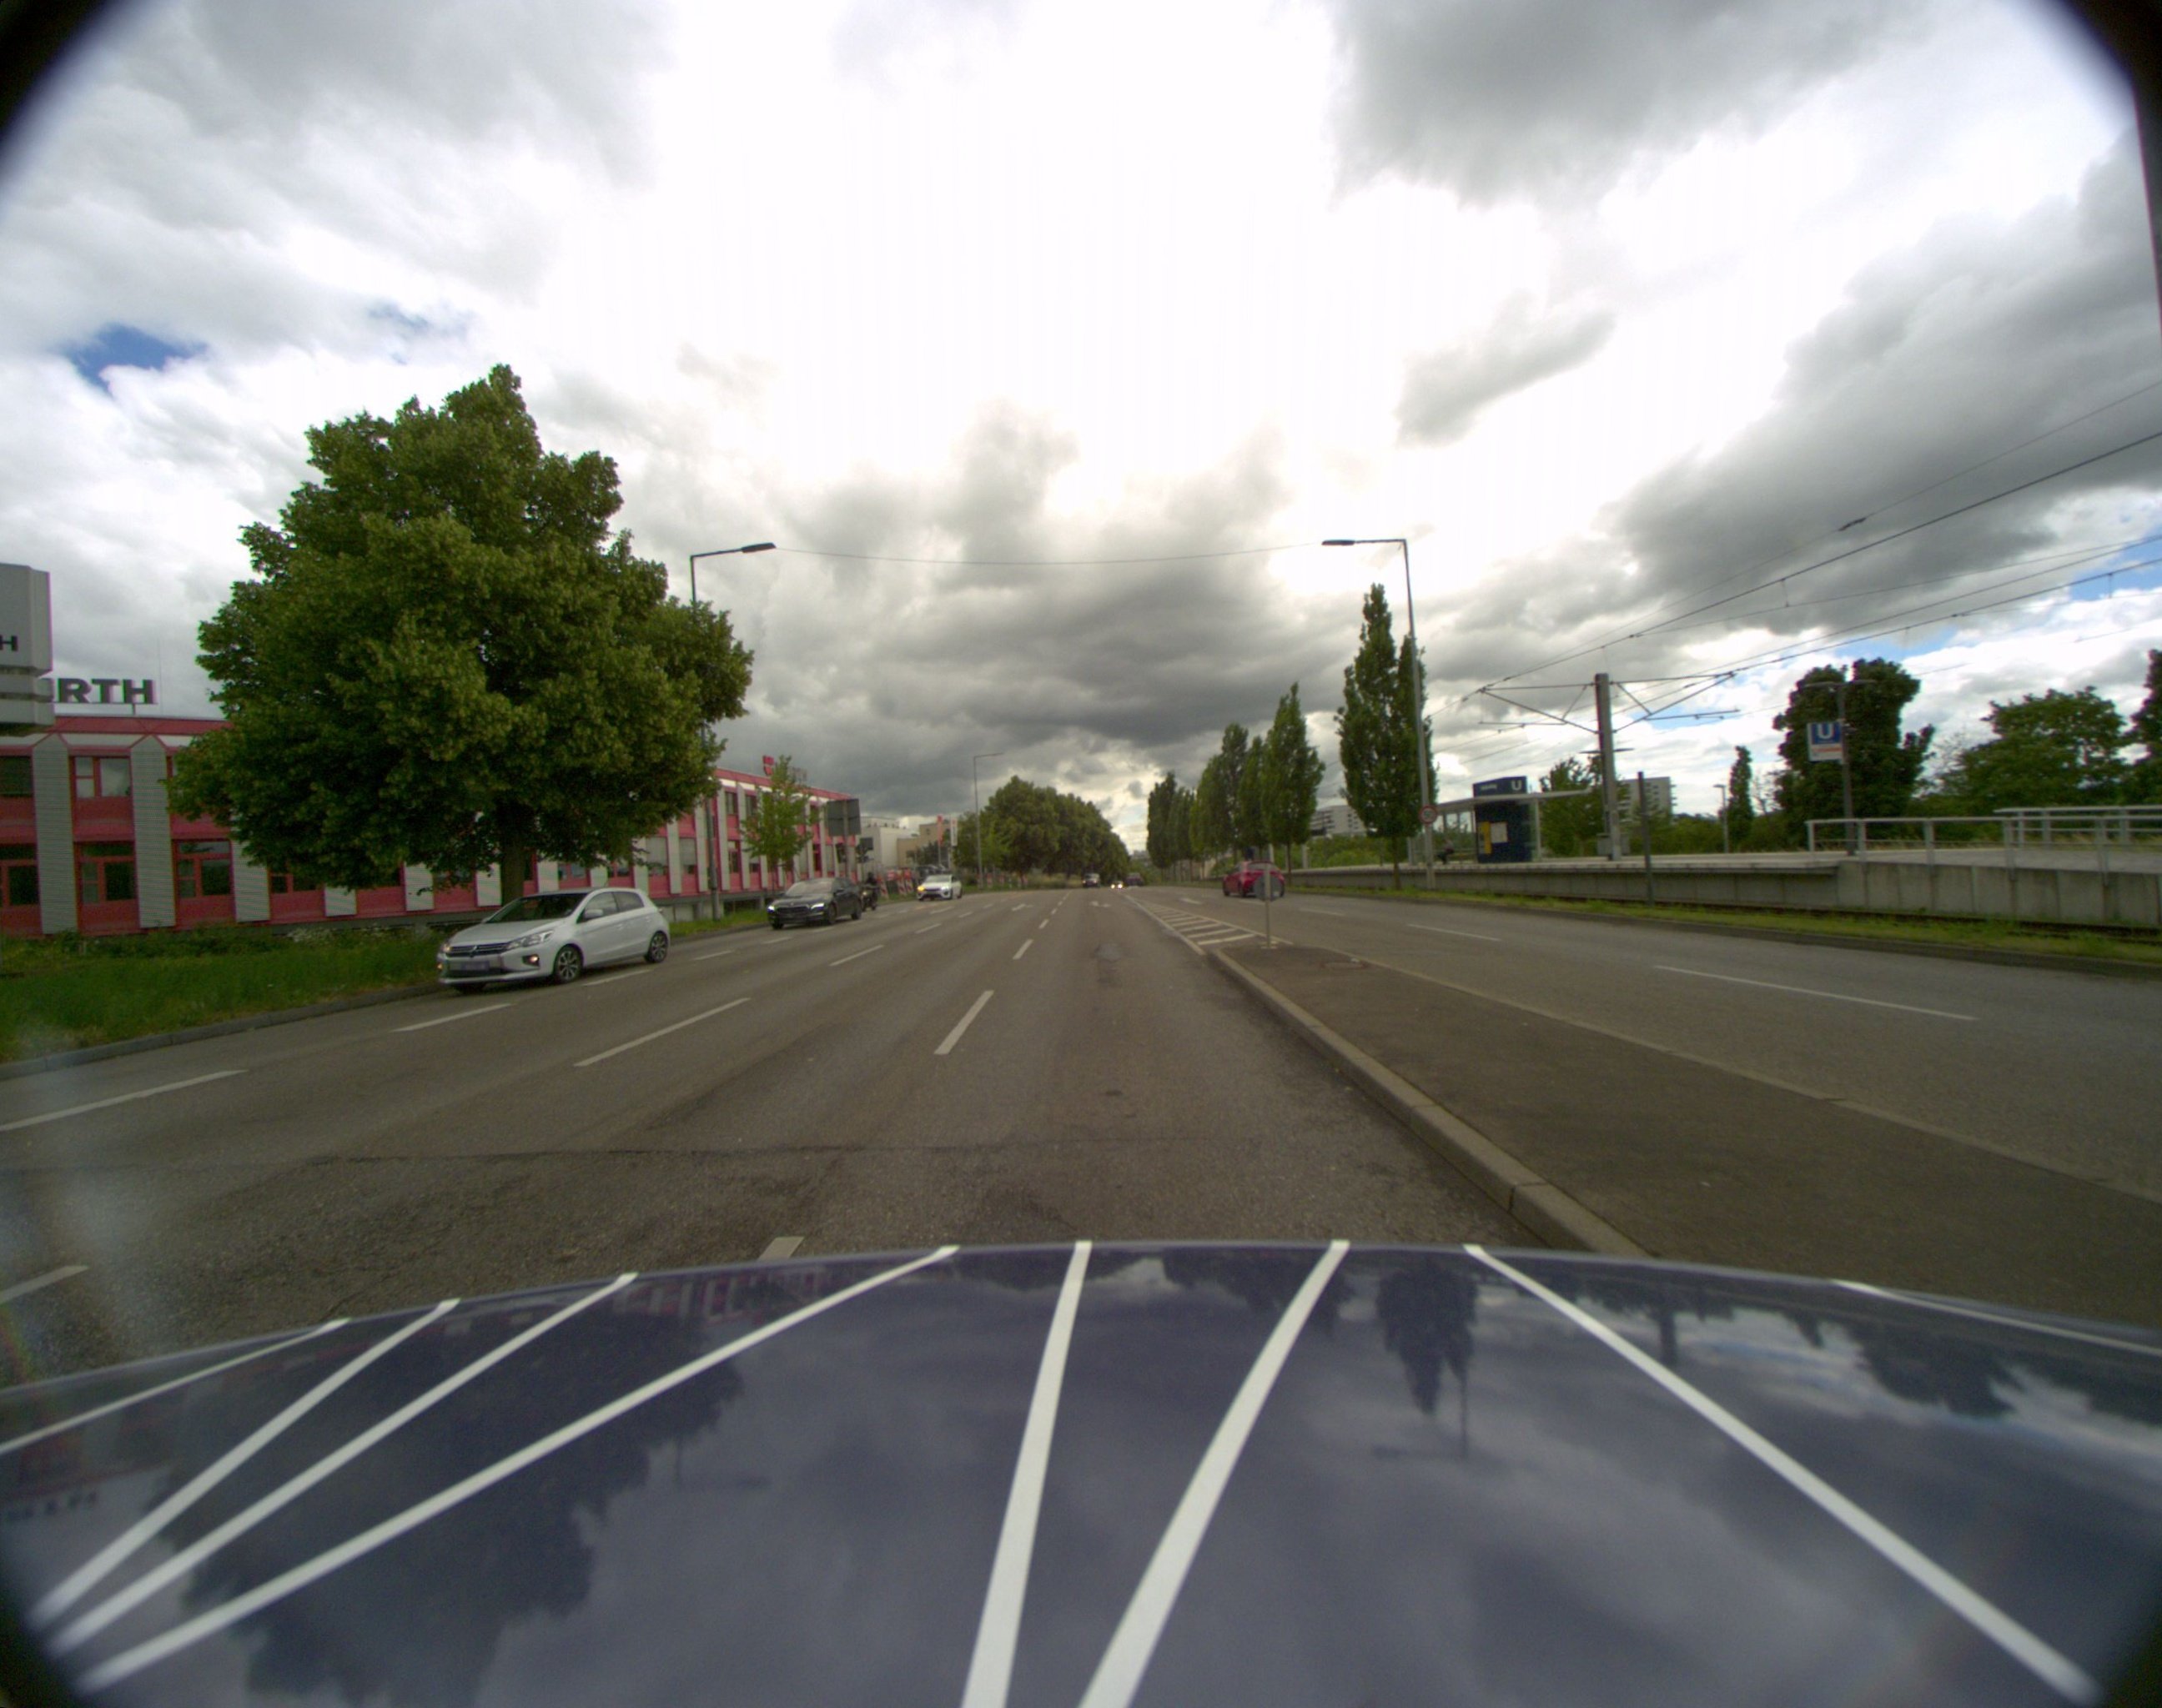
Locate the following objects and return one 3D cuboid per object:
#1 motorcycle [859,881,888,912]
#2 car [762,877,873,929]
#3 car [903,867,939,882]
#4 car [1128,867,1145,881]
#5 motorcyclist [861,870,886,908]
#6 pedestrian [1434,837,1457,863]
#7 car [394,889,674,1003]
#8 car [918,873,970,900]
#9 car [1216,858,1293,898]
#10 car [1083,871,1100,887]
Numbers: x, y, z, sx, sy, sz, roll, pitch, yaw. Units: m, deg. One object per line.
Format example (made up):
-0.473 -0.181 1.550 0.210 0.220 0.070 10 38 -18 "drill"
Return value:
-8.564 1.733 31.412 0.750 1.140 1.942 -4 -1 -5 "motorcycle"
-8.119 1.453 23.837 1.785 1.437 4.529 -1 -2 1 "car"
-21.218 2.675 101.005 4.248 1.744 1.784 -2 0 2 "car"
6.448 2.308 88.669 1.782 1.537 4.225 -2 0 1 "car"
-8.575 1.441 31.358 0.750 1.481 0.933 -4 -1 -5 "motorcyclist"
17.620 -0.181 36.733 0.663 1.195 0.782 -2 0 -7 "pedestrian"
-8.632 1.365 12.471 1.785 1.434 3.835 -3 -2 0 "car"
-7.638 1.788 42.714 1.785 1.353 4.482 -3 -2 3 "car"
6.998 0.943 31.150 1.786 1.434 4.424 -3 -1 -4 "car"
1.315 2.967 91.038 1.782 1.744 4.253 -2 0 4 "car"
